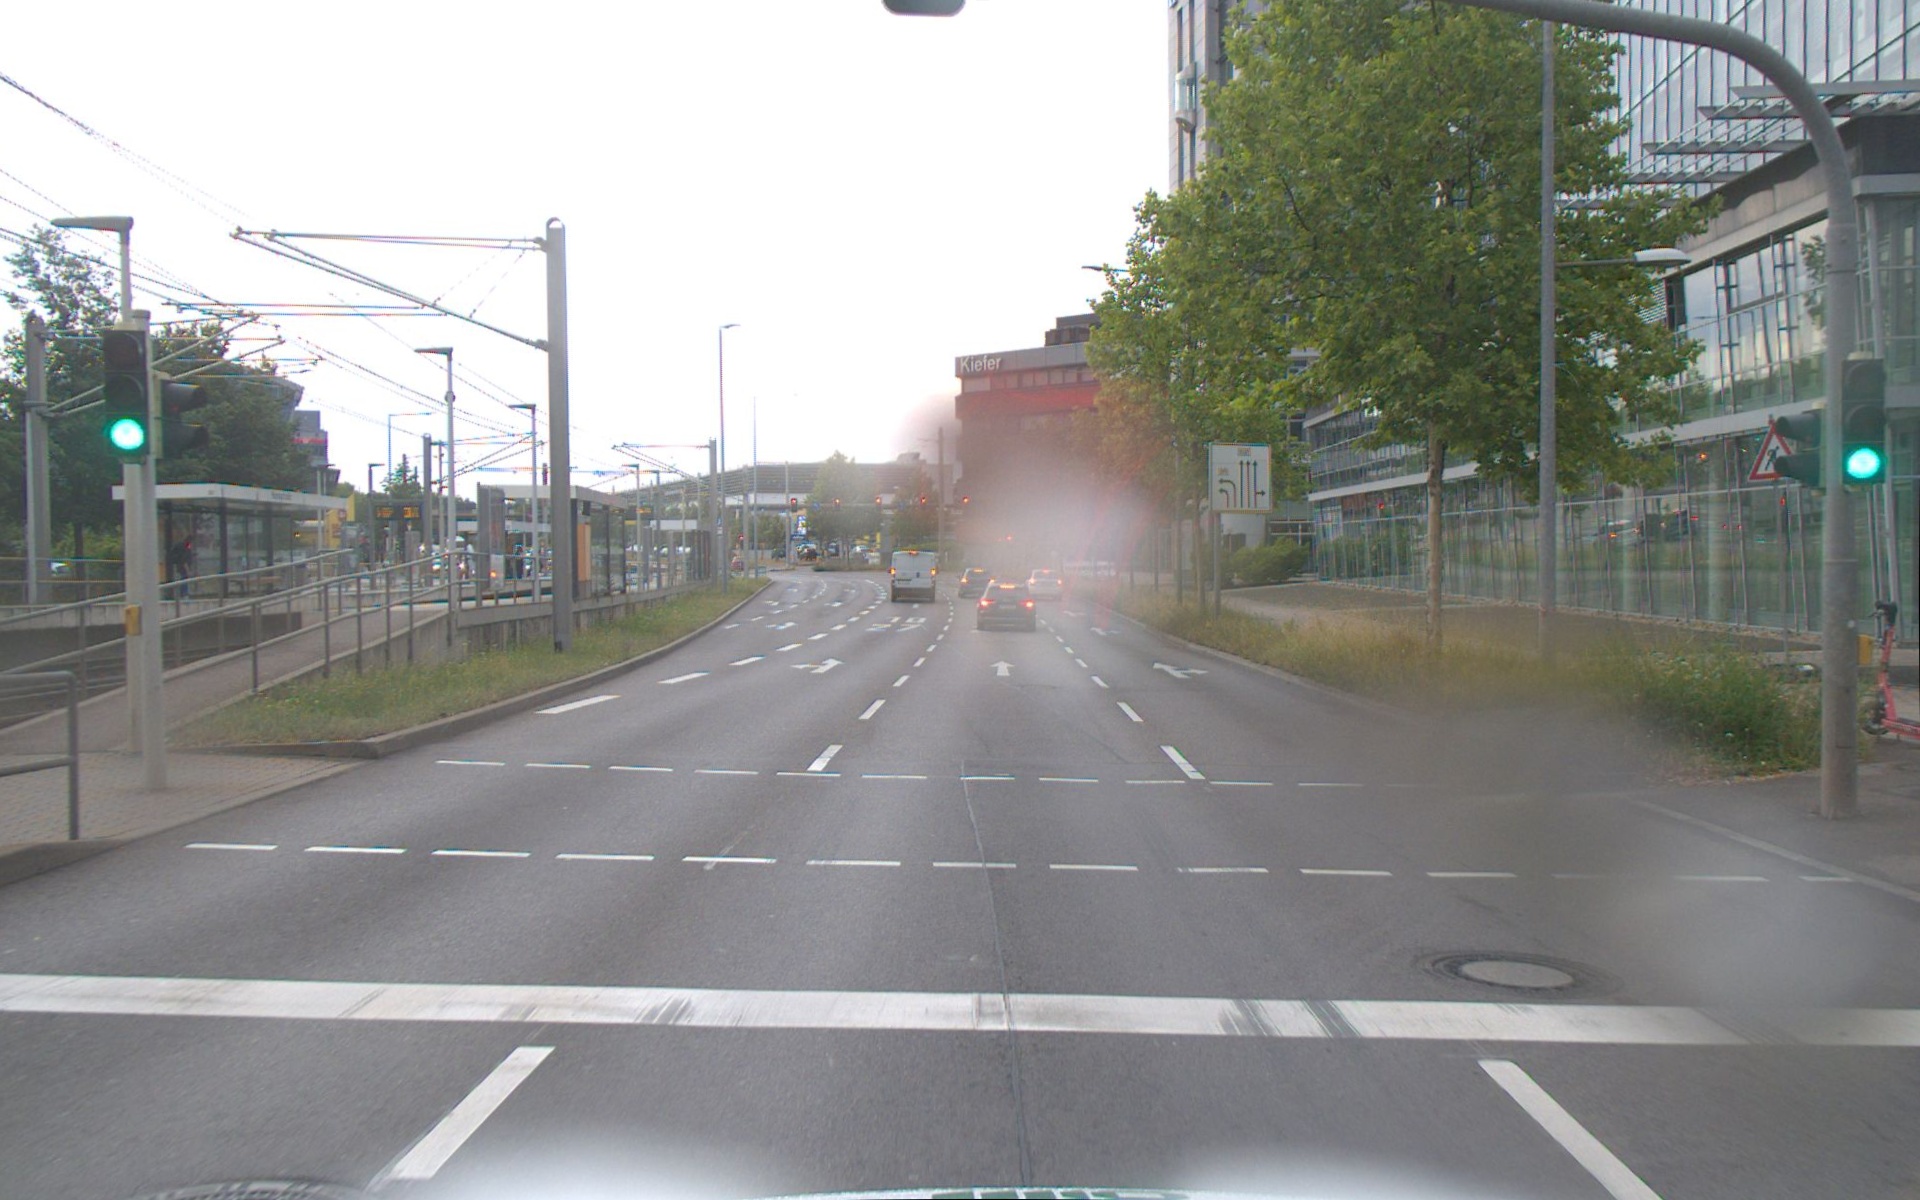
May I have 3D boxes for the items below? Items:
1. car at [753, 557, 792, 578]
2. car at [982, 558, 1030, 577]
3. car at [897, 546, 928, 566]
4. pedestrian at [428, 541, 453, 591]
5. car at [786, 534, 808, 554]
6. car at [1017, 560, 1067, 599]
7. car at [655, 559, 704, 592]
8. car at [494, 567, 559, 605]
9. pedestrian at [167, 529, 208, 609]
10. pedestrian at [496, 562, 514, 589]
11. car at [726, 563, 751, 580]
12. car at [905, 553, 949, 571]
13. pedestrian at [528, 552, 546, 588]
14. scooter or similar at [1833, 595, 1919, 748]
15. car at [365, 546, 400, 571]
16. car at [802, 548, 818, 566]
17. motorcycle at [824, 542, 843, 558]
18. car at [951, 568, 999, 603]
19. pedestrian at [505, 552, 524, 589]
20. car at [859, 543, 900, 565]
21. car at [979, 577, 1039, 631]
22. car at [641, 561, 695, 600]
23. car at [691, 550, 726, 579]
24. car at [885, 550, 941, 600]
[{"bbox_3d":[-19.438,-3.358,171.332,1.985,2.049,3.935,2,-3,-44],"label":"car"},{"bbox_3d":[4.171,-2.949,151.089,2.012,1.651,4.255,0,1,-44],"label":"car"},{"bbox_3d":[-5.403,-4.936,186.919,1.971,2.049,3.962,1,-2,-28],"label":"car"},{"bbox_3d":[-21.697,-1.411,69.092,0.840,2.049,1.037,1,-2,-13],"label":"pedestrian"},{"bbox_3d":[-18.885,-6.482,191.271,1.960,2.049,3.984,1,-2,-15],"label":"car"},{"bbox_3d":[3.980,-1.022,80.537,1.981,1.800,3.998,1,2,-4],"label":"car"},{"bbox_3d":[-13.672,-1.169,80.867,1.954,1.478,3.844,1,-1,-4],"label":"car"},{"bbox_3d":[-16.862,-0.570,64.468,1.822,1.359,3.332,1,2,-4],"label":"car"},{"bbox_3d":[-18.603,-0.734,39.841,0.624,1.887,0.750,1,-2,-5],"label":"pedestrian"},{"bbox_3d":[-22.010,-1.199,80.078,0.712,1.275,0.731,1,-1,-6],"label":"pedestrian"},{"bbox_3d":[-21.394,-2.756,159.730,1.986,1.651,3.987,1,1,-13],"label":"car"},{"bbox_3d":[-3.149,-3.621,156.248,2.012,1.651,3.935,0,1,-44],"label":"car"},{"bbox_3d":[-21.672,-1.522,84.753,0.737,1.782,0.763,1,-2,-3],"label":"pedestrian"},{"bbox_3d":[8.342,0.610,14.547,0.449,1.285,1.335,-3,0,-7],"label":"scooter or similar"},{"bbox_3d":[-52.239,-3.744,149.518,1.977,2.049,3.951,2,-2,-35],"label":"car"},{"bbox_3d":[-18.943,-5.407,208.248,1.784,2.049,3.463,1,-2,-9],"label":"car"},{"bbox_3d":[-17.670,-6.953,231.008,1.960,2.049,3.985,1,-2,-14],"label":"motorcycle"},{"bbox_3d":[0.703,-0.733,82.384,1.982,1.651,3.996,1,1,-5],"label":"car"},{"bbox_3d":[-21.208,-1.411,78.747,0.714,1.745,0.831,1,-1,-3],"label":"pedestrian"},{"bbox_3d":[-7.959,-4.538,163.743,1.985,2.049,3.935,2,0,-44],"label":"car"},{"bbox_3d":[1.521,0.094,50.660,1.727,1.488,4.629,1,1,2],"label":"car"},{"bbox_3d":[-12.996,-0.893,73.834,1.954,1.477,3.846,1,4,-4],"label":"car"},{"bbox_3d":[-17.374,-2.425,114.416,1.954,1.840,3.845,3,1,-4],"label":"car"},{"bbox_3d":[-2.195,-1.146,75.986,2.461,2.215,5.147,1,1,-2],"label":"car"}]
